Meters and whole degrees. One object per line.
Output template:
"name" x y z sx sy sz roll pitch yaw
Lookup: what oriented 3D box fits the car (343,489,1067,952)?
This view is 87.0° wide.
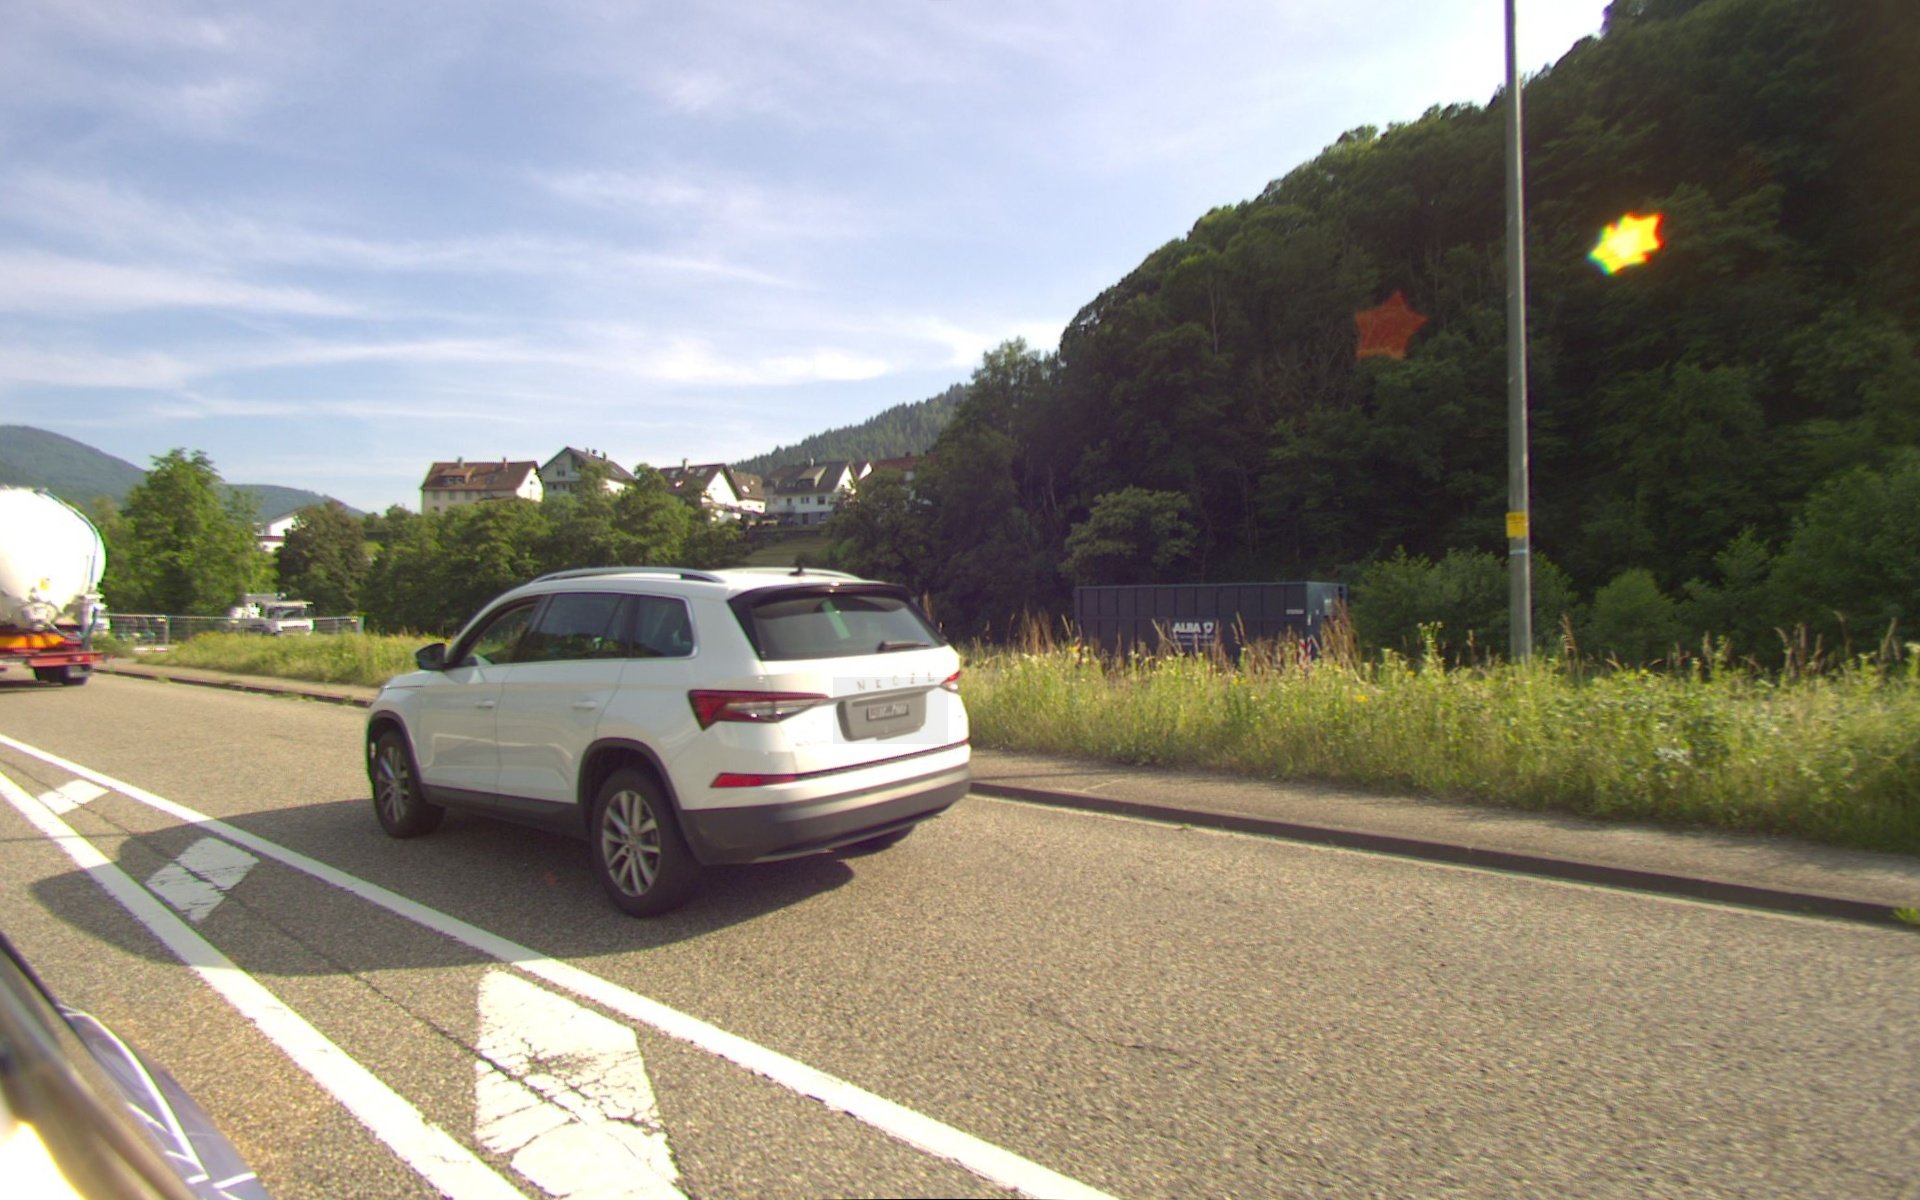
"car" -1.776 0.467 6.079 4.466 1.772 1.973 -1 1 40

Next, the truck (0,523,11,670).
"truck" -29.158 -0.023 28.242 8.187 3.864 2.723 -1 0 38

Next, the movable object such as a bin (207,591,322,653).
"movable object such as a bin" -46.502 1.486 67.627 7.770 3.977 2.880 0 -3 27

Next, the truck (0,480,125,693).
"truck" -22.820 -0.143 23.185 14.542 3.864 2.723 -1 0 38
